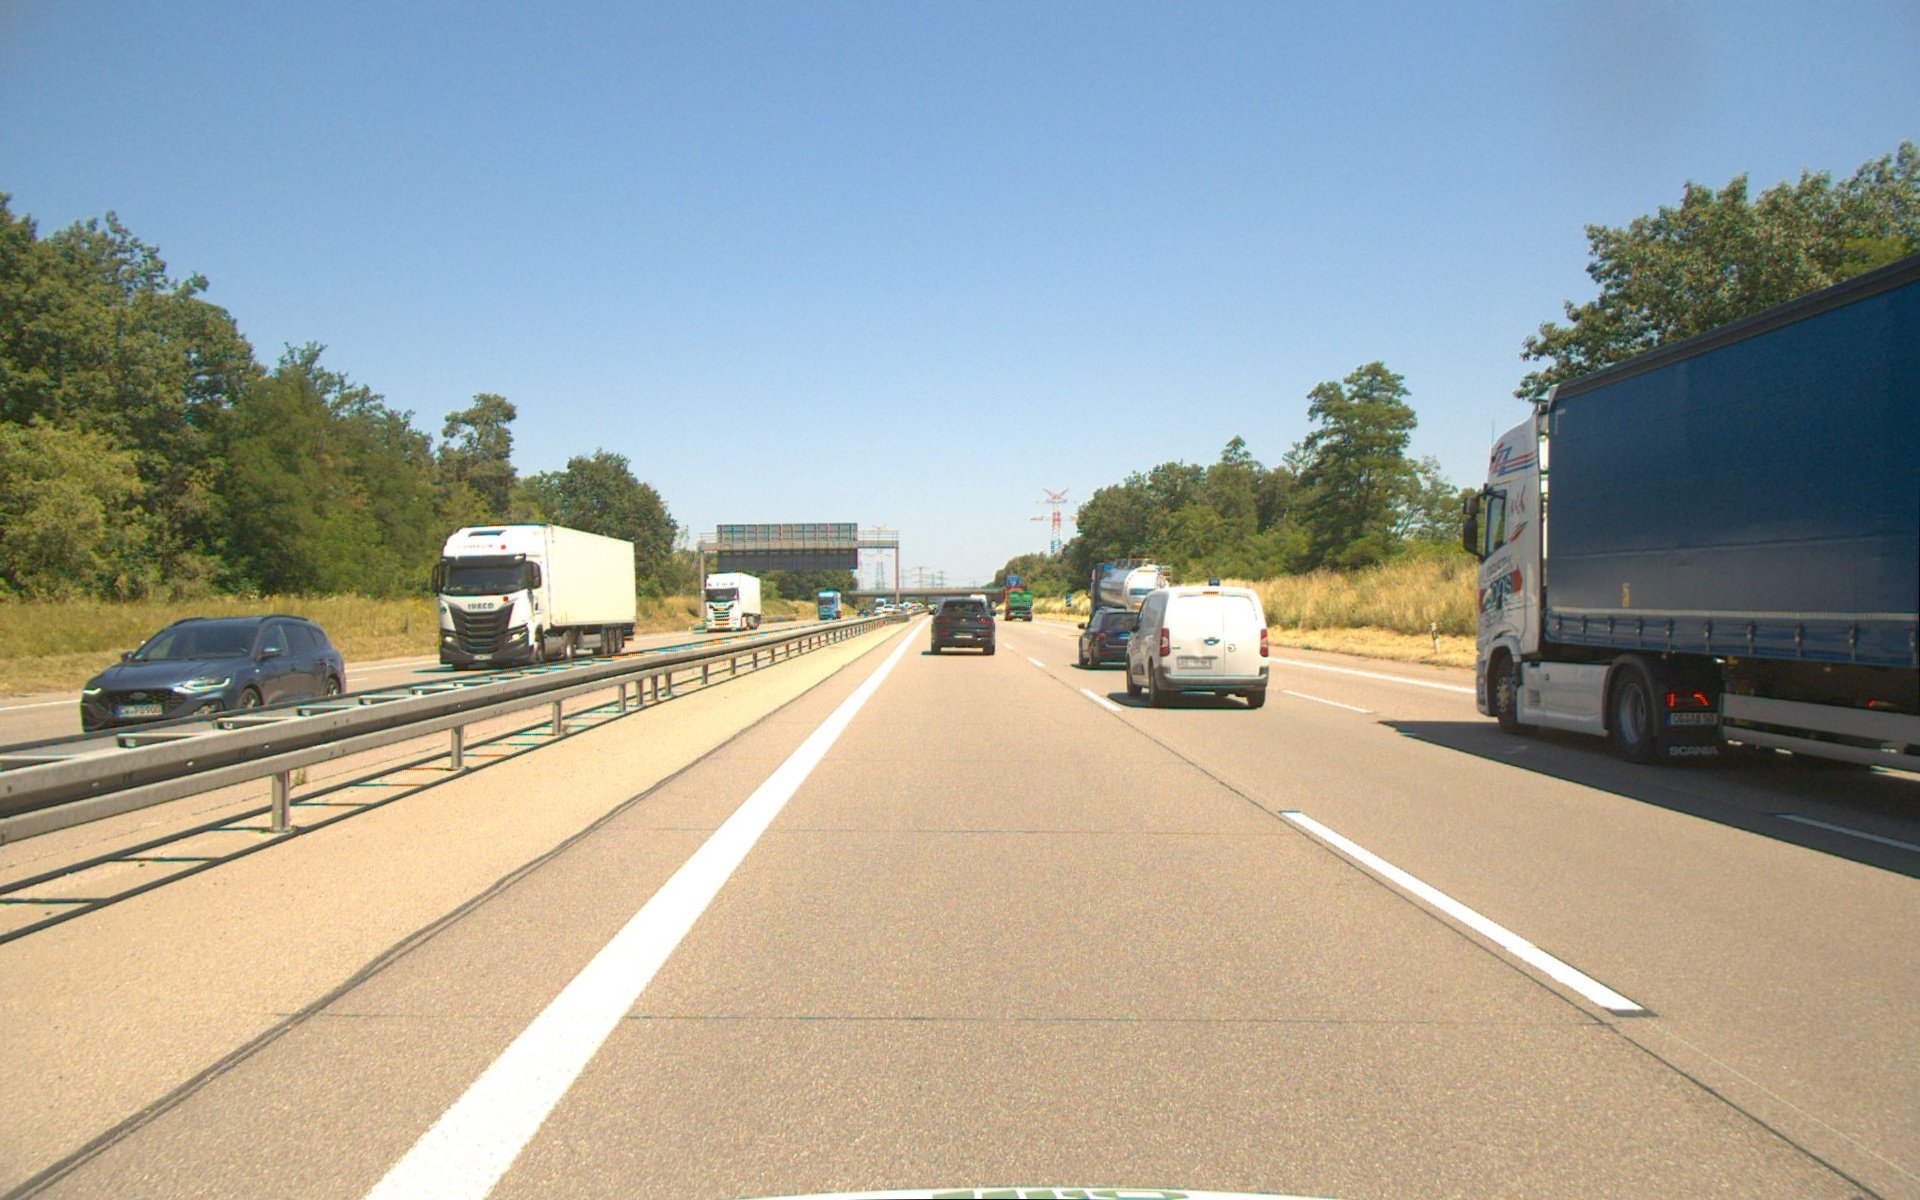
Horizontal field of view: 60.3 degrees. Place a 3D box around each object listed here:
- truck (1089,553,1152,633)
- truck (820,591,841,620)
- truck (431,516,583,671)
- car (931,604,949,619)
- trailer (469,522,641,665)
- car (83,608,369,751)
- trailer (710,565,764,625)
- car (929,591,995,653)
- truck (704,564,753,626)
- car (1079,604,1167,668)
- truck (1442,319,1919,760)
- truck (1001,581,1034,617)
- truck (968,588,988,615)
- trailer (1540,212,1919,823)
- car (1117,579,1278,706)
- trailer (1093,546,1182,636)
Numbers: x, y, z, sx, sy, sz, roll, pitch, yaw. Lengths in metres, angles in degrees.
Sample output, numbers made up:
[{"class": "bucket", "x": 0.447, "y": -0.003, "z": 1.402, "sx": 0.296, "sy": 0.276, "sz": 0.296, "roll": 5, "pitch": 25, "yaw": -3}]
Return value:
[{"class": "truck", "x": 8.130, "y": -0.350, "z": 84.075, "sx": 2.628, "sy": 3.904, "sz": 4.443, "roll": 1, "pitch": 0, "yaw": -1}, {"class": "truck", "x": -19.052, "y": 0.833, "z": 243.431, "sx": 2.647, "sy": 4.260, "sz": 4.721, "roll": -1, "pitch": 0, "yaw": -1}, {"class": "truck", "x": -12.930, "y": -0.182, "z": 47.720, "sx": 2.615, "sy": 4.059, "sz": 6.339, "roll": -2, "pitch": 0, "yaw": -1}, {"class": "car", "x": -1.673, "y": 0.956, "z": 139.006, "sx": 1.493, "sy": 1.274, "sz": 3.624, "roll": 0, "pitch": 0, "yaw": -1}, {"class": "trailer", "x": -13.102, "y": -0.197, "z": 54.888, "sx": 2.615, "sy": 4.059, "sz": 13.127, "roll": -2, "pitch": 0, "yaw": -1}, {"class": "car", "x": -9.040, "y": 0.898, "z": 20.833, "sx": 1.584, "sy": 1.508, "sz": 4.623, "roll": -2, "pitch": 0, "yaw": -1}, {"class": "trailer", "x": -17.019, "y": -0.378, "z": 127.205, "sx": 2.647, "sy": 4.259, "sz": 12.060, "roll": -2, "pitch": 0, "yaw": -1}, {"class": "car", "x": 0.000, "y": 0.649, "z": 52.248, "sx": 1.901, "sy": 1.782, "sz": 5.812, "roll": 0, "pitch": 1, "yaw": -2}, {"class": "truck", "x": -16.859, "y": -0.374, "z": 120.760, "sx": 2.647, "sy": 4.259, "sz": 6.187, "roll": -2, "pitch": 0, "yaw": -1}, {"class": "car", "x": 4.022, "y": 0.861, "z": 41.241, "sx": 1.738, "sy": 1.498, "sz": 3.871, "roll": 0, "pitch": 0, "yaw": -1}, {"class": "truck", "x": 8.177, "y": -0.580, "z": 19.284, "sx": 3.219, "sy": 4.293, "sz": 6.006, "roll": 1, "pitch": 0, "yaw": -1}, {"class": "truck", "x": 6.225, "y": -0.109, "z": 180.159, "sx": 2.928, "sy": 3.794, "sz": 10.087, "roll": 1, "pitch": 0, "yaw": -1}, {"class": "truck", "x": 1.970, "y": 0.171, "z": 186.055, "sx": 2.018, "sy": 2.965, "sz": 7.001, "roll": 0, "pitch": 0, "yaw": -1}, {"class": "trailer", "x": 8.331, "y": -0.561, "z": 11.982, "sx": 3.219, "sy": 4.293, "sz": 13.561, "roll": 1, "pitch": 0, "yaw": -1}, {"class": "car", "x": 3.748, "y": 0.631, "z": 26.938, "sx": 1.777, "sy": 1.859, "sz": 5.109, "roll": 0, "pitch": 0, "yaw": -1}, {"class": "trailer", "x": 8.238, "y": -0.369, "z": 78.348, "sx": 2.628, "sy": 3.904, "sz": 12.007, "roll": 1, "pitch": 0, "yaw": -1}]
